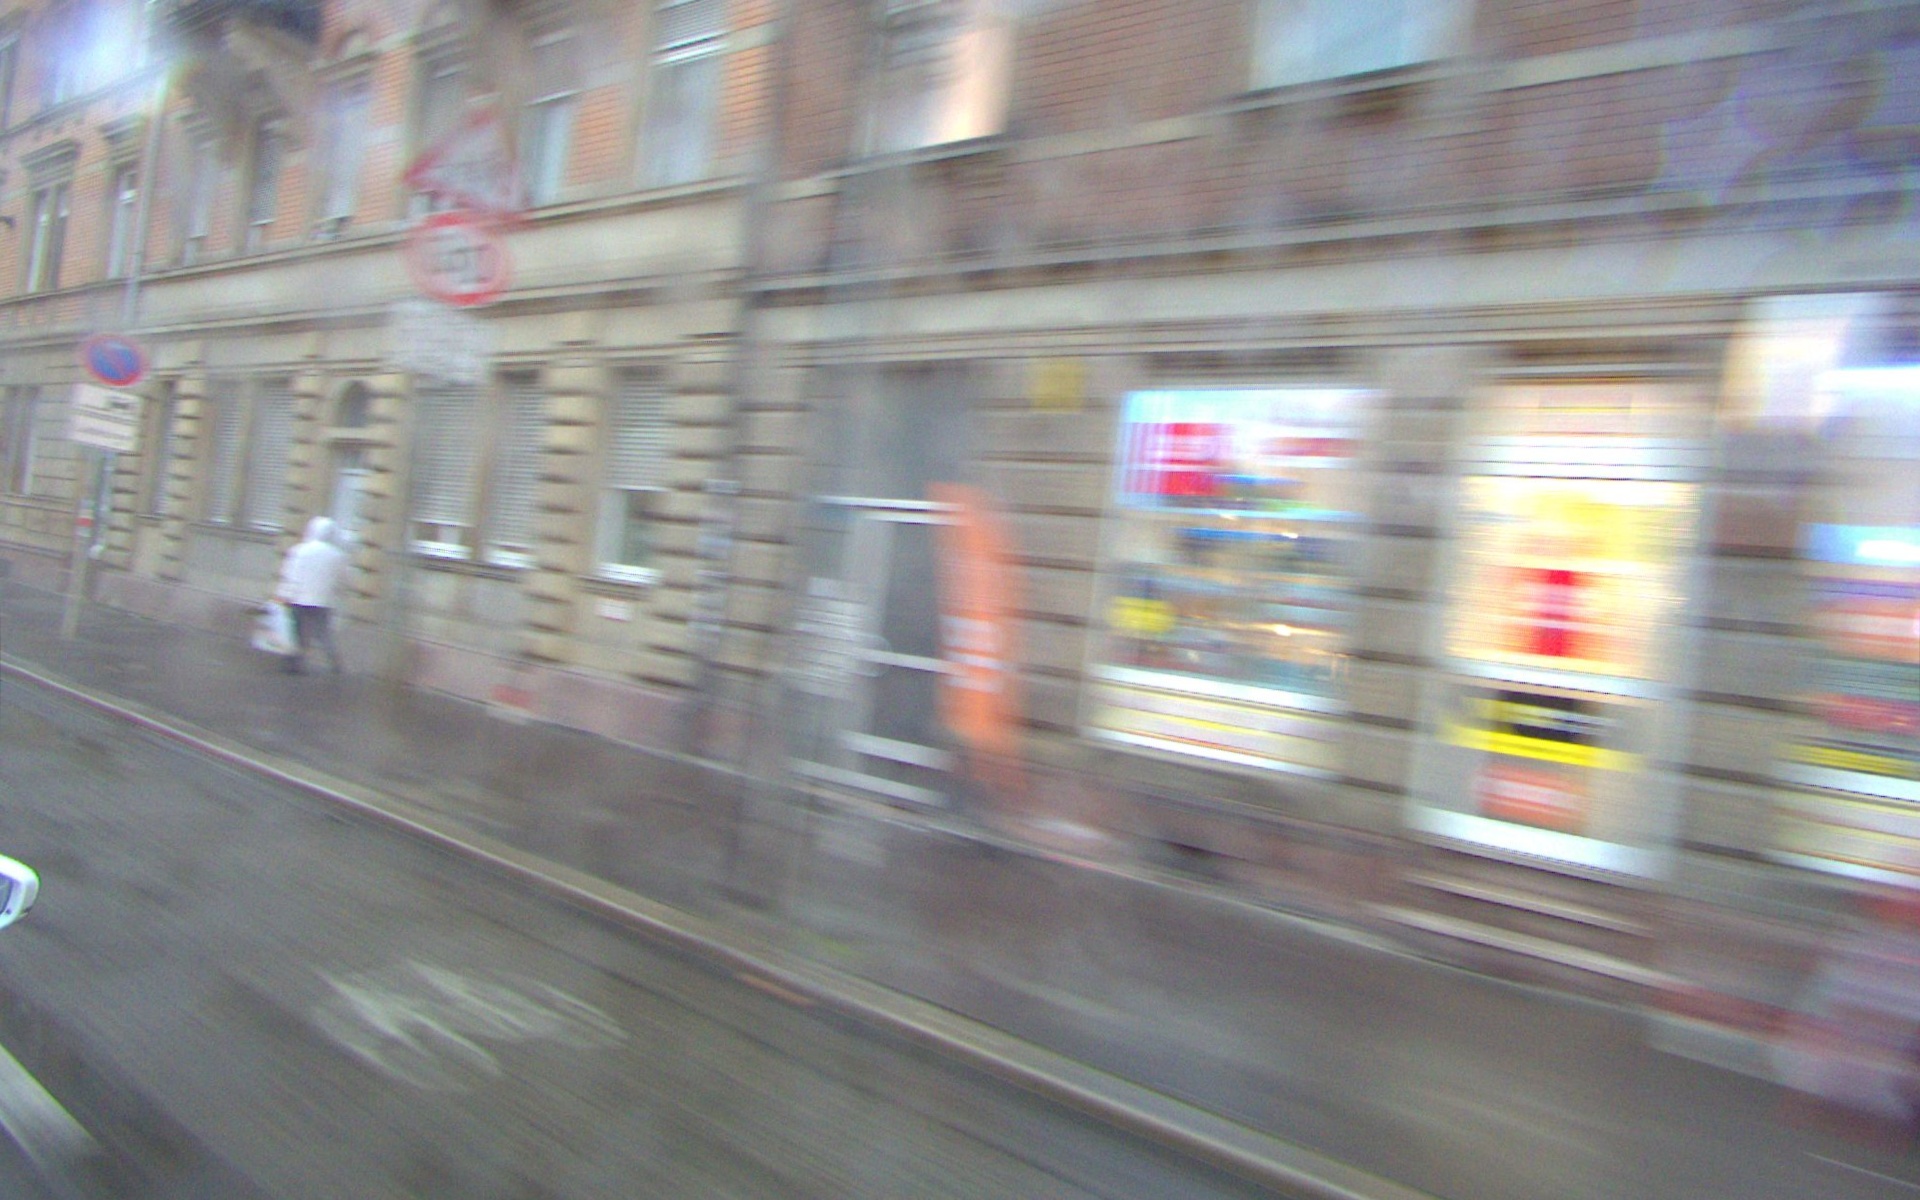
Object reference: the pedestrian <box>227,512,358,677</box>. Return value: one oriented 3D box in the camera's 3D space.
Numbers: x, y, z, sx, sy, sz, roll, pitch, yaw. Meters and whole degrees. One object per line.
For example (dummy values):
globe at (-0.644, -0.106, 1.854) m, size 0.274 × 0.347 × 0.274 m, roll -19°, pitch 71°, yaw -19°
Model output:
pedestrian at (-7.031, -0.048, 10.610) m, size 0.730 × 1.616 × 0.787 m, roll 7°, pitch 0°, yaw 33°
